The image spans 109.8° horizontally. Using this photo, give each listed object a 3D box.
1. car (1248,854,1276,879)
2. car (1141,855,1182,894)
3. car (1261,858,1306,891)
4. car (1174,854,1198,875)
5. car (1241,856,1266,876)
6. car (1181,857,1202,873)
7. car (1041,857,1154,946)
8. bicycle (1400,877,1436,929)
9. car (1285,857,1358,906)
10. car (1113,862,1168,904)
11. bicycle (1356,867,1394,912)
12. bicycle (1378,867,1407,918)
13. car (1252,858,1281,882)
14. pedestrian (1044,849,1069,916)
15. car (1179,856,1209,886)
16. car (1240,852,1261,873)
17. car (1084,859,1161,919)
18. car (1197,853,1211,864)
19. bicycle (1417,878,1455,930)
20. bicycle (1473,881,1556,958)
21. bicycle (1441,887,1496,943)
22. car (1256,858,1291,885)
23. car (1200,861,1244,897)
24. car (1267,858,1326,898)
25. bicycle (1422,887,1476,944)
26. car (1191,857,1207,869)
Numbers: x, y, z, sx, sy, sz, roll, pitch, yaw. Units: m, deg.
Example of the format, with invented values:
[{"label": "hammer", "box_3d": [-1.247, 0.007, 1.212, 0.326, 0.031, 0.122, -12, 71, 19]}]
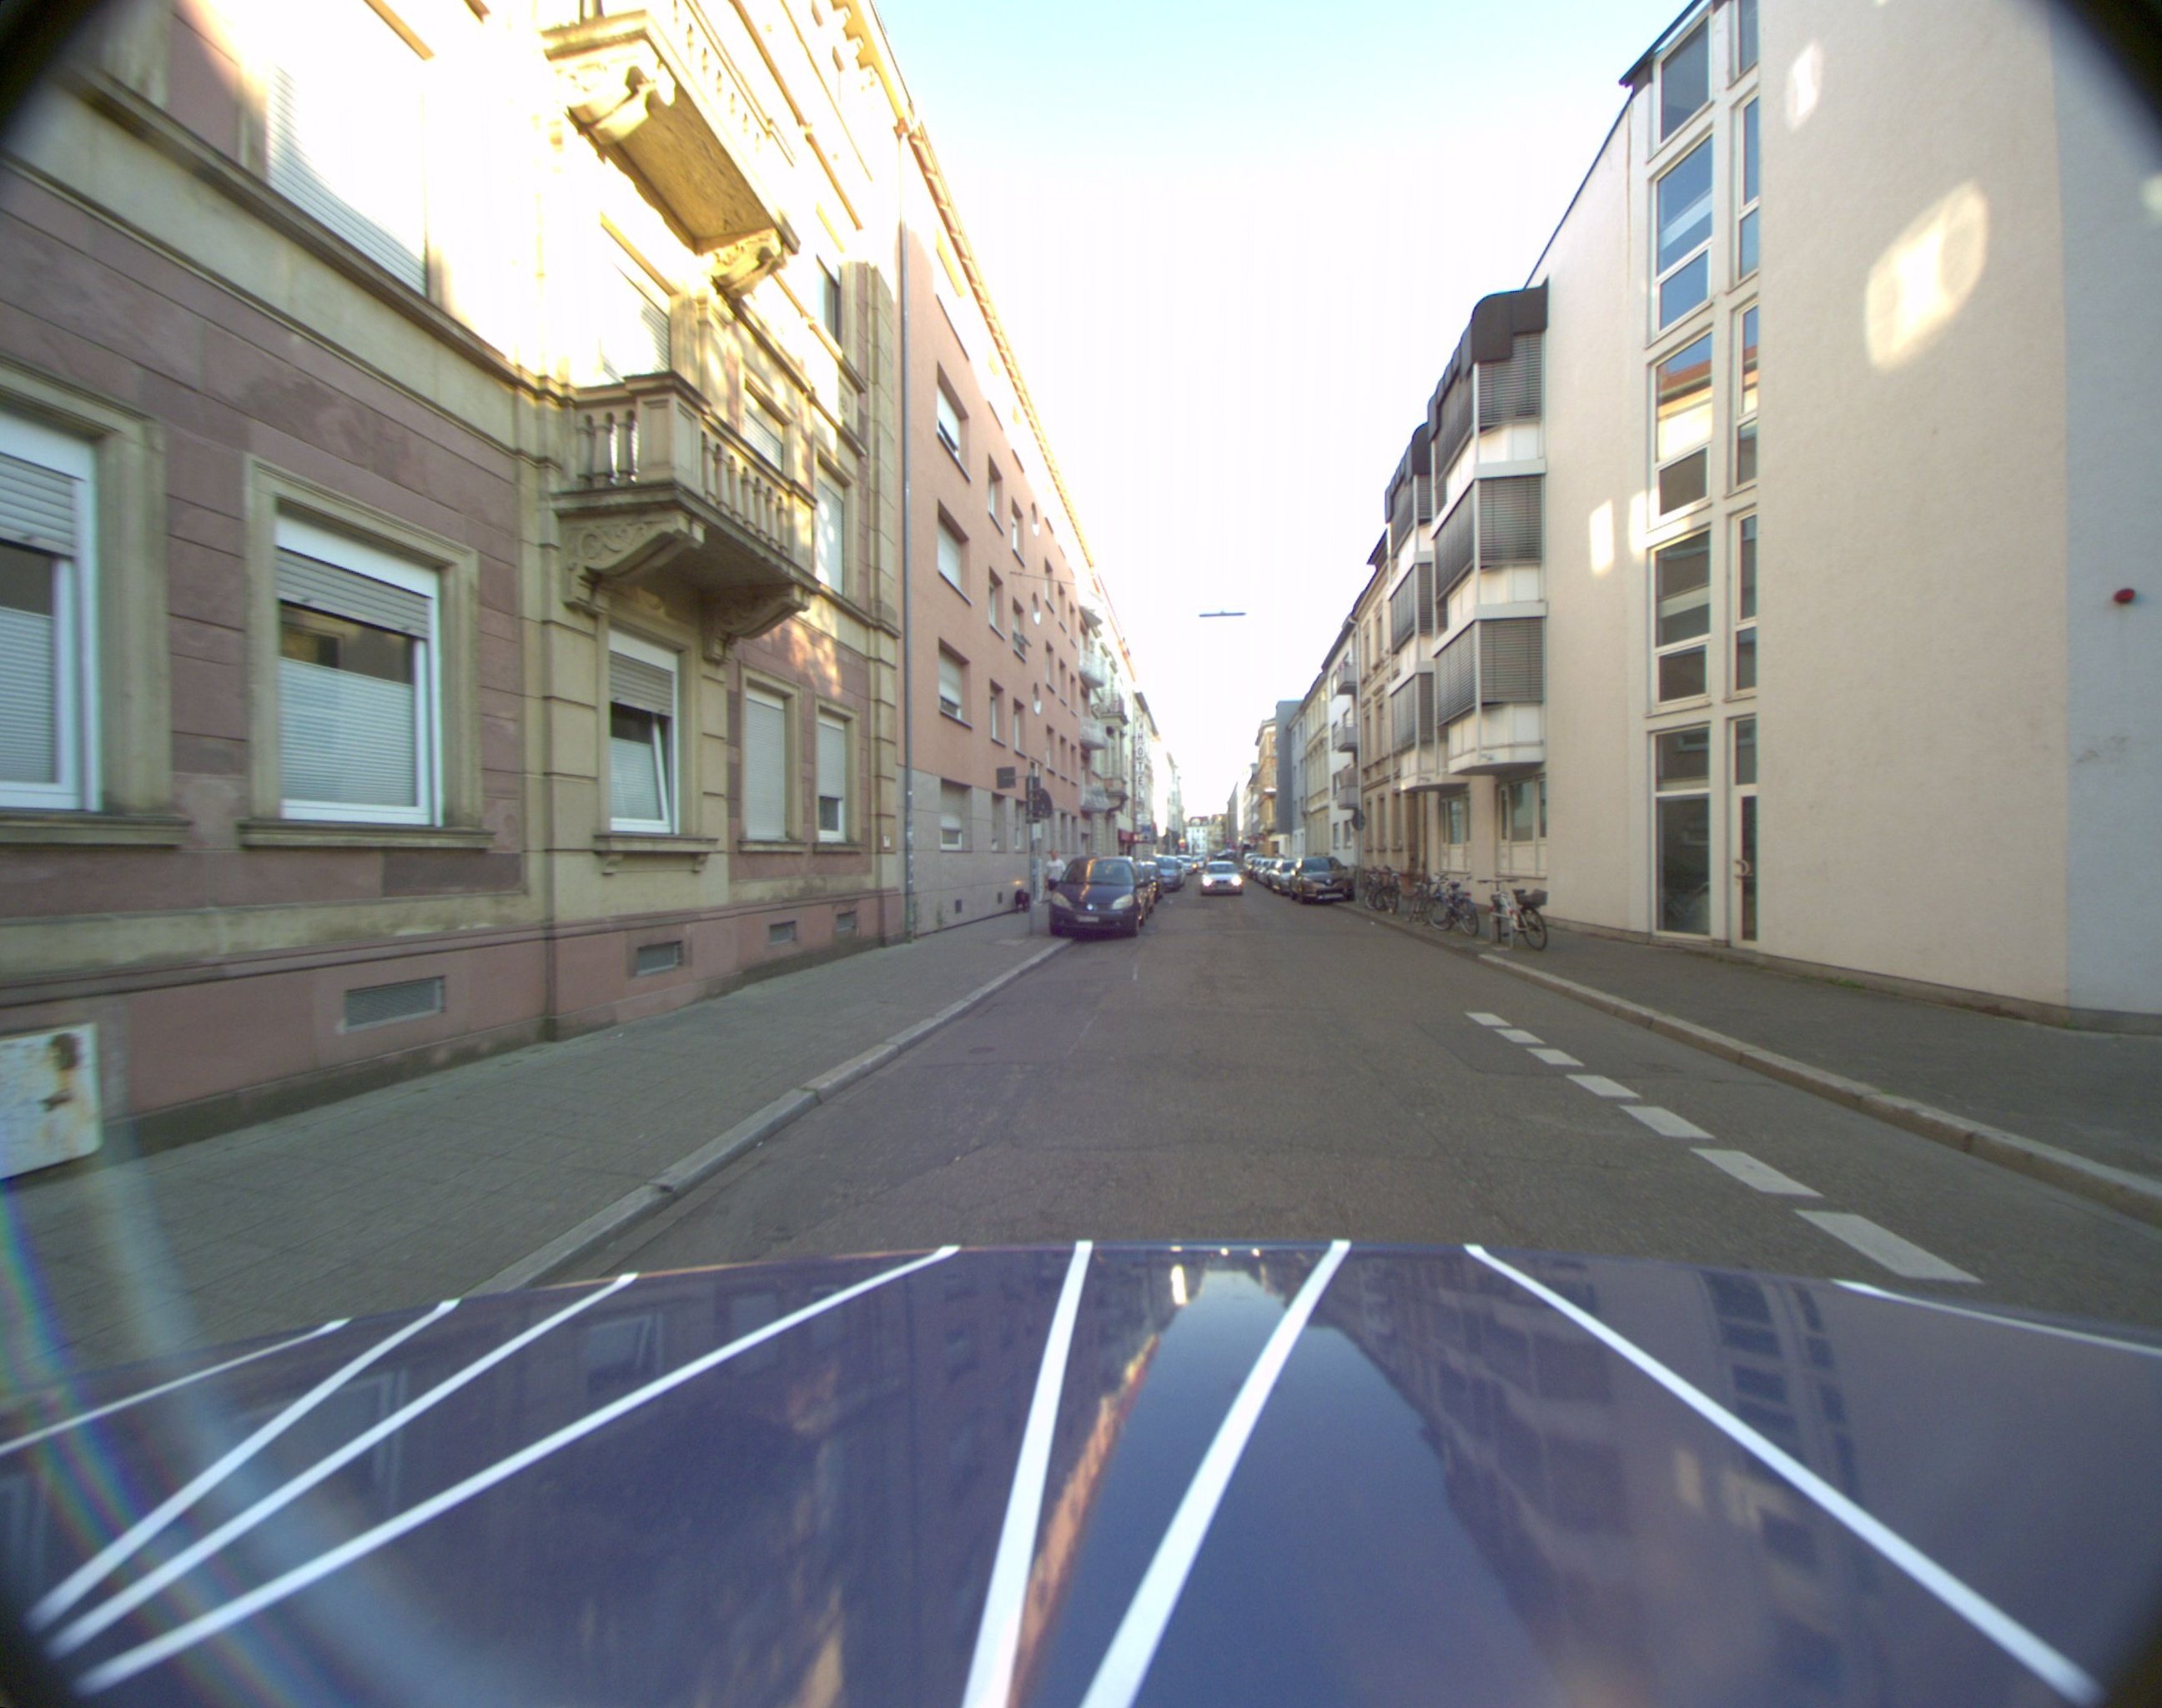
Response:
[{"label": "car", "box_3d": [13.173, 0.876, 55.491, 1.641, 1.701, 3.785, -1, 0, 8]}, {"label": "car", "box_3d": [3.906, 0.945, 36.380, 1.692, 1.731, 4.112, -1, 0, 10]}, {"label": "car", "box_3d": [10.175, 1.005, 38.443, 1.794, 1.530, 4.497, -1, 0, 10]}, {"label": "car", "box_3d": [9.421, 0.924, 67.922, 1.840, 1.685, 4.362, 4, 1, 11]}, {"label": "car", "box_3d": [13.979, 0.964, 61.730, 1.641, 1.571, 3.785, -1, 0, 8]}, {"label": "car", "box_3d": [10.602, 1.035, 72.659, 1.728, 1.469, 3.979, -2, 0, 11]}, {"label": "car", "box_3d": [0.487, 0.889, 16.005, 1.692, 1.615, 4.058, -1, 0, 11]}, {"label": "bicycle", "box_3d": [7.465, 1.069, 16.888, 0.307, 1.036, 1.814, -1, 0, 11]}, {"label": "car", "box_3d": [8.320, 0.908, 26.608, 1.794, 1.567, 4.073, -1, 0, 8]}, {"label": "car", "box_3d": [2.327, 1.047, 28.782, 1.692, 1.449, 4.135, -1, 0, 10]}, {"label": "bicycle", "box_3d": [8.368, 0.983, 21.704, 0.596, 1.180, 2.267, -1, 0, 11]}, {"label": "bicycle", "box_3d": [7.985, 0.956, 19.528, 0.307, 1.215, 1.814, -1, 0, 11]}, {"label": "car", "box_3d": [12.069, 1.016, 49.590, 1.641, 1.480, 3.957, -1, 0, 12]}, {"label": "pedestrian", "box_3d": [-0.640, 0.739, 20.003, 0.550, 1.733, 0.569, -1, 0, 9]}, {"label": "car", "box_3d": [6.447, 0.940, 43.020, 1.572, 1.569, 3.592, -1, 0, 10]}, {"label": "car", "box_3d": [15.091, 0.740, 67.890, 1.641, 1.786, 3.786, -1, 0, 10]}, {"label": "car", "box_3d": [1.285, 0.911, 21.675, 1.692, 1.505, 4.286, -1, 0, 10]}, {"label": "car", "box_3d": [15.954, 0.578, 98.347, 1.728, 1.390, 3.895, -1, 0, 11]}, {"label": "bicycle", "box_3d": [7.848, 1.080, 16.835, 0.307, 1.036, 1.814, -1, 0, 11]}, {"label": "bicycle", "box_3d": [6.999, 1.022, 12.363, 0.401, 1.096, 1.813, -1, 0, 4]}, {"label": "bicycle", "box_3d": [7.320, 1.119, 14.404, 0.307, 0.926, 1.814, -1, 0, 7]}, {"label": "car", "box_3d": [11.247, 1.014, 44.594, 1.641, 1.480, 3.791, -1, 0, 10]}, {"label": "car", "box_3d": [6.097, 1.039, 33.012, 1.680, 1.395, 4.475, -2, 0, 10]}, {"label": "car", "box_3d": [9.120, 0.971, 32.460, 1.794, 1.530, 4.437, -1, 0, 8]}, {"label": "bicycle", "box_3d": [6.977, 1.135, 14.475, 0.307, 0.926, 1.814, -1, 0, 6]}, {"label": "car", "box_3d": [13.981, 1.027, 89.769, 1.728, 1.390, 3.895, -1, 0, 11]}]
